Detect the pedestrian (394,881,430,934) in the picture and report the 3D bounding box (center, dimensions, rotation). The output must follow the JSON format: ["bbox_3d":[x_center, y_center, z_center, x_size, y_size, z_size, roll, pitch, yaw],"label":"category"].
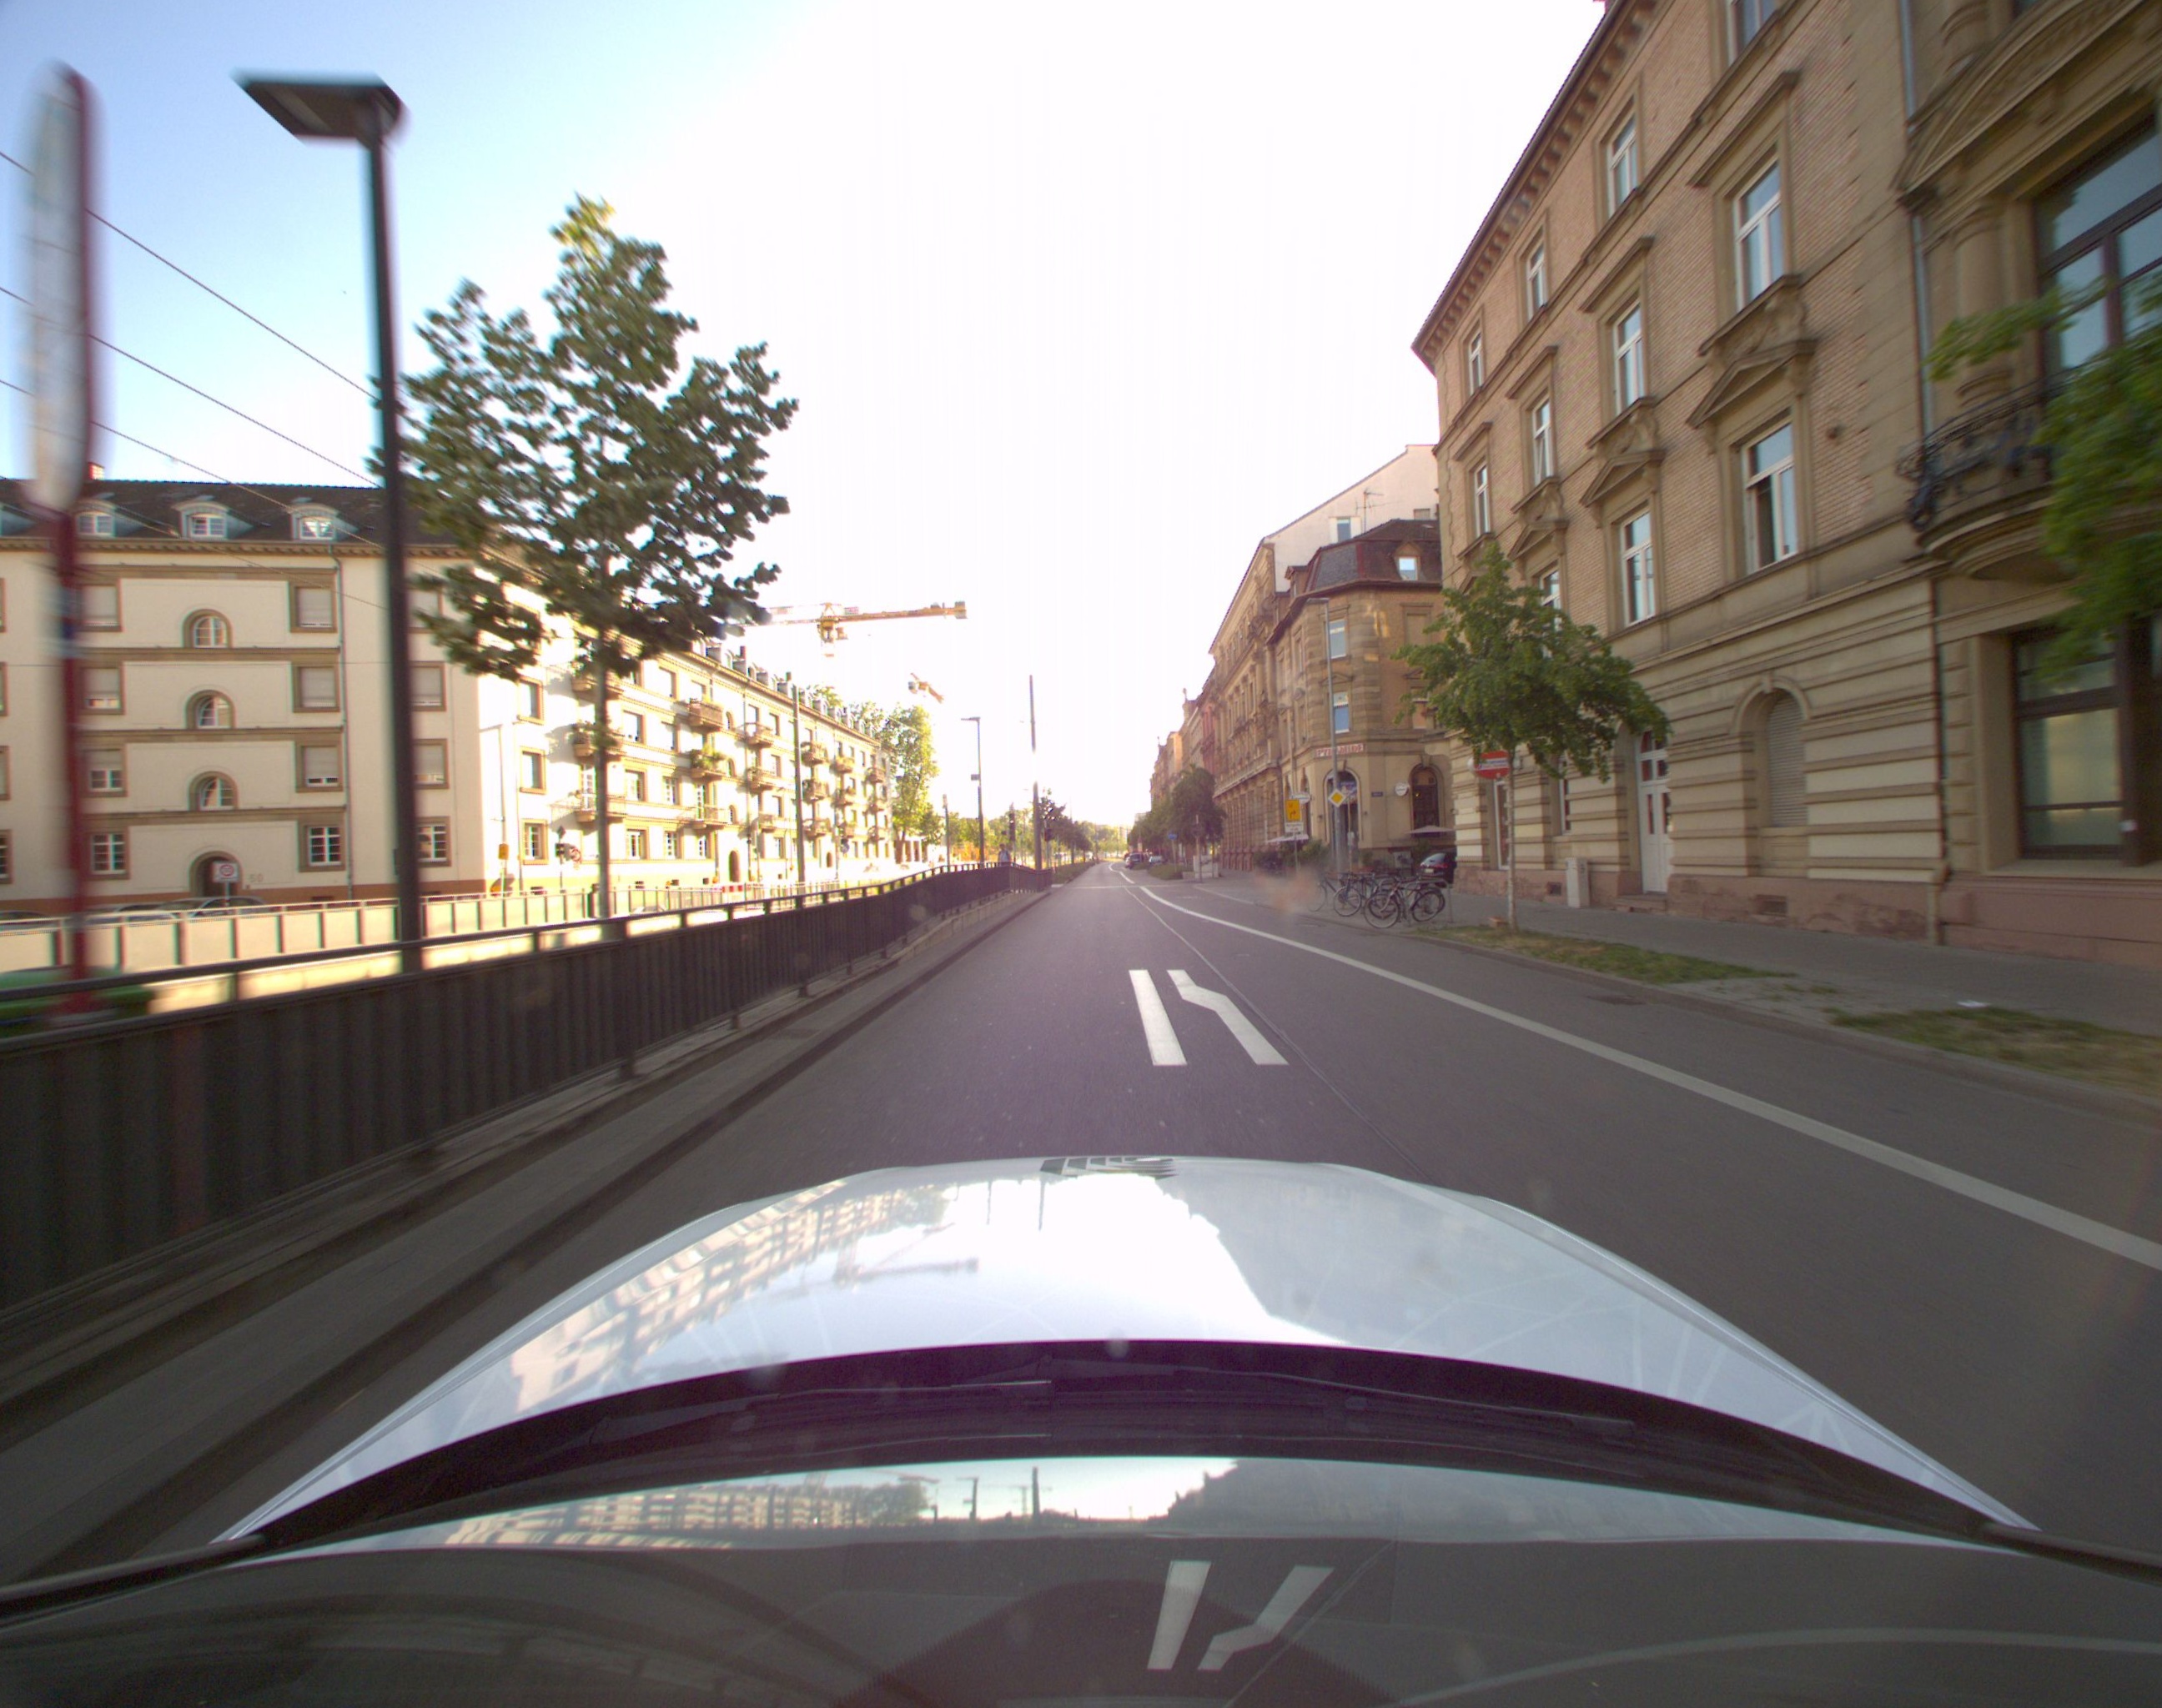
[{"bbox_3d":[-26.128,2.085,31.812,0.797,2.013,0.625,-3,0,1],"label":"pedestrian"}]

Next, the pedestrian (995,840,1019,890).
[{"bbox_3d":[-2.471,0.376,27.246,0.652,1.643,0.867,-2,-1,1],"label":"pedestrian"}]

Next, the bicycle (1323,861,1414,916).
[{"bbox_3d":[6.693,0.796,19.017,1.822,1.064,0.663,-6,1,-4],"label":"bicycle"}]

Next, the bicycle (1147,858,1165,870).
[{"bbox_3d":[7.046,0.928,76.601,1.574,1.048,0.488,-4,0,-7],"label":"bicycle"}]

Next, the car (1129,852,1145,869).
[{"bbox_3d":[7.003,0.843,102.964,1.877,1.937,4.477,-3,1,3],"label":"car"}]

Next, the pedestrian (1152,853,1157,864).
[{"bbox_3d":[9.606,0.571,106.708,0.623,1.460,0.638,-3,0,1],"label":"pedestrian"}]

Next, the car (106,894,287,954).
[{"bbox_3d":[-30.427,2.339,28.225,1.833,1.585,4.125,-3,1,-4],"label":"car"}]

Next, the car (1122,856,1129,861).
[{"bbox_3d":[14.074,1.452,255.620,1.787,1.464,4.010,-3,0,8],"label":"car"}]

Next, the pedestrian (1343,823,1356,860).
[{"bbox_3d":[12.765,-0.593,38.714,0.442,1.740,0.546,-3,-1,29],"label":"pedestrian"}]

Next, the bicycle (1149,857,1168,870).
[{"bbox_3d":[7.401,0.894,77.886,1.689,1.048,0.488,-4,0,-7],"label":"bicycle"}]

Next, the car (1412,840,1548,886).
[{"bbox_3d":[14.137,0.323,28.956,4.142,1.388,1.612,-3,-1,-10],"label":"car"}]

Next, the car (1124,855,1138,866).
[{"bbox_3d":[7.161,0.898,116.282,1.842,1.457,4.160,-3,1,3],"label":"car"}]

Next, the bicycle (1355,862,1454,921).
[{"bbox_3d":[6.980,0.799,17.627,1.822,1.064,0.663,-6,1,-4],"label":"bicycle"}]

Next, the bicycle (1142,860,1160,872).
[{"bbox_3d":[6.964,1.217,80.950,1.685,1.048,0.490,-6,0,1],"label":"bicycle"}]

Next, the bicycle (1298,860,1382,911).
[{"bbox_3d":[6.513,0.787,20.494,1.822,1.064,0.663,-6,1,-4],"label":"bicycle"}]

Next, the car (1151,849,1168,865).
[{"bbox_3d":[8.270,0.316,86.324,1.630,1.486,4.217,-5,1,4],"label":"car"}]

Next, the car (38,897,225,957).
[{"bbox_3d":[-32.658,2.451,28.223,1.833,1.585,3.995,-3,1,-4],"label":"car"}]

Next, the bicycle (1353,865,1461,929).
[{"bbox_3d":[6.487,0.841,16.262,1.822,1.064,0.663,-6,1,-4],"label":"bicycle"}]

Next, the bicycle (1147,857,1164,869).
[{"bbox_3d":[7.182,0.898,78.427,1.574,1.048,0.488,-4,0,-7],"label":"bicycle"}]

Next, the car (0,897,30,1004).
[{"bbox_3d":[-18.757,1.622,11.156,1.983,1.717,4.952,-3,0,7],"label":"car"}]
